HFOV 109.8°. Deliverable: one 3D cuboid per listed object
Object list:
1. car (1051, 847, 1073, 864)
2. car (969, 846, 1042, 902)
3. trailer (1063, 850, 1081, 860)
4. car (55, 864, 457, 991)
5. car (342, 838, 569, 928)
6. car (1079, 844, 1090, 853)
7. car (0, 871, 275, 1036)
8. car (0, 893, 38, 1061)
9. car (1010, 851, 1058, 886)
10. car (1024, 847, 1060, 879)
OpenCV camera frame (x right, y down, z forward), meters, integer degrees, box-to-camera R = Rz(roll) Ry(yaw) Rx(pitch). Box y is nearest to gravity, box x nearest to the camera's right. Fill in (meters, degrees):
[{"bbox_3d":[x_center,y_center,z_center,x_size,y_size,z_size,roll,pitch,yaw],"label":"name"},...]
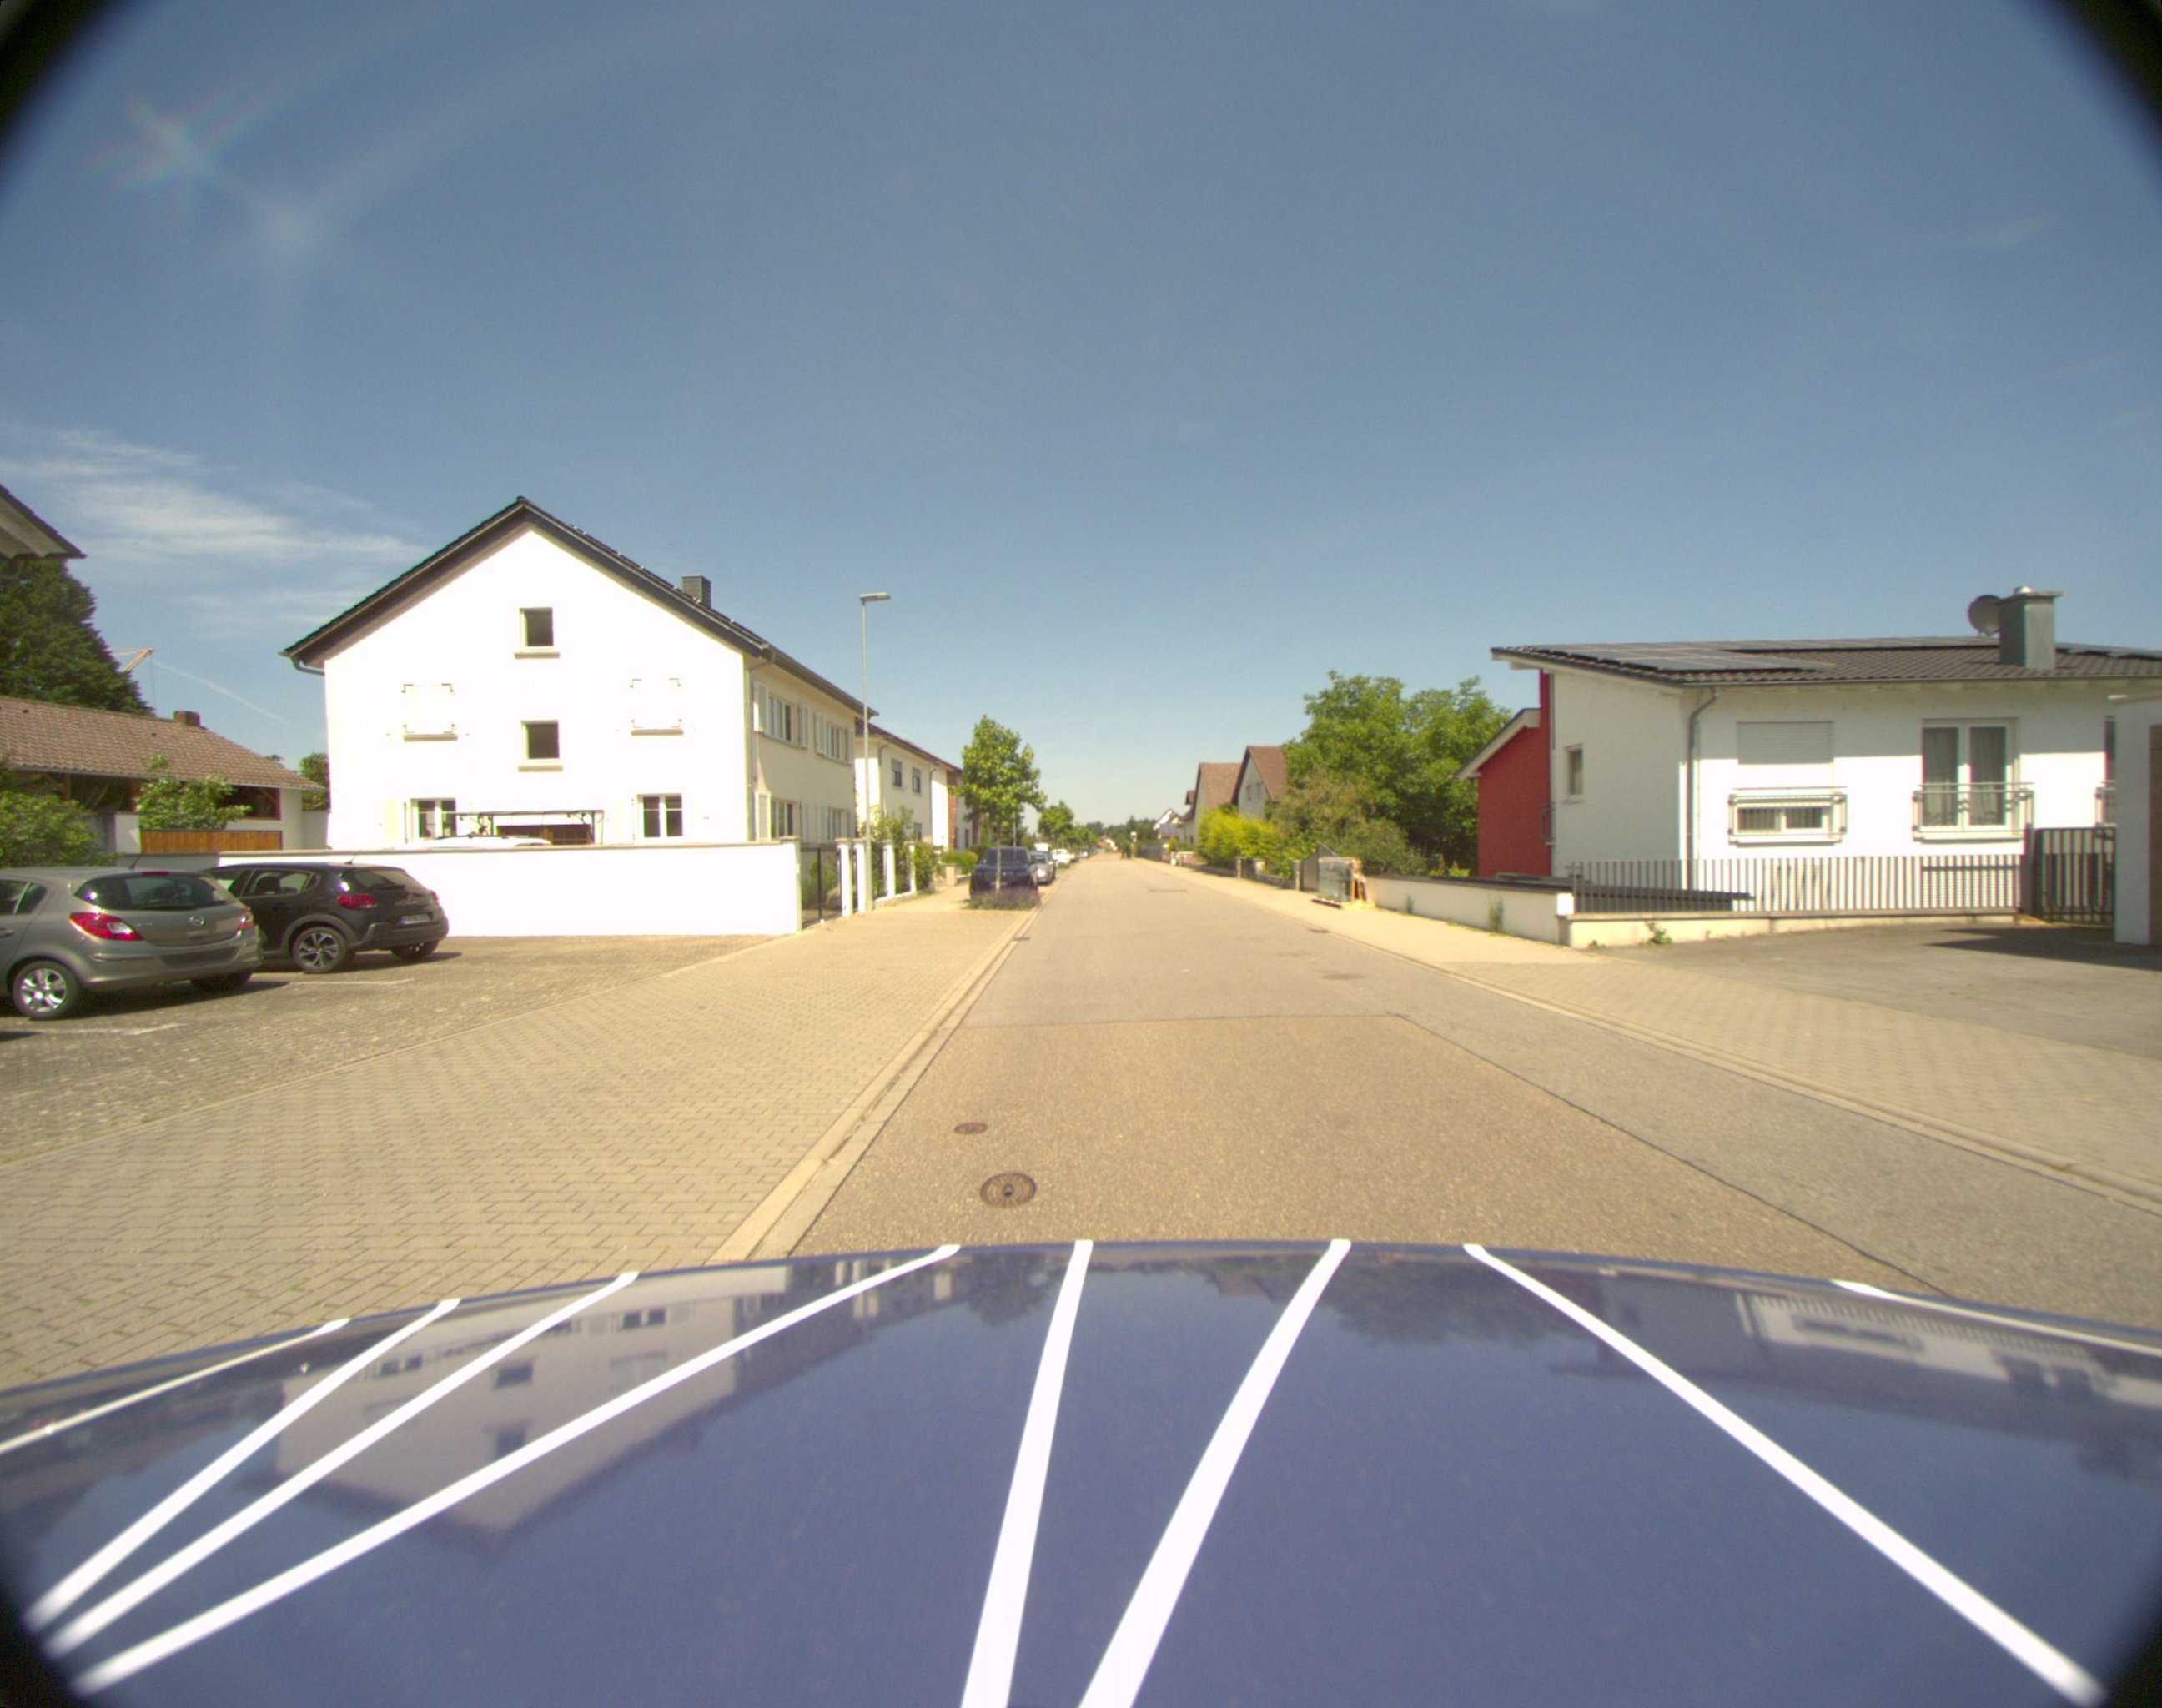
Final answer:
[{"bbox_3d":[-1.650,0.105,67.205,1.819,1.412,3.867,-1,1,0],"label":"car"},{"bbox_3d":[-2.380,0.585,24.999,1.819,1.646,4.564,-1,0,1],"label":"car"},{"bbox_3d":[-1.001,0.087,82.119,1.792,1.052,2.898,-1,1,2],"label":"trailer"},{"bbox_3d":[-11.161,0.941,10.529,3.510,1.488,1.663,-1,1,-5],"label":"car"},{"bbox_3d":[-13.478,0.593,16.531,3.395,1.802,1.771,-1,1,-1],"label":"car"},{"bbox_3d":[0.670,-1.027,136.153,1.597,1.630,3.803,-1,1,5],"label":"car"},{"bbox_3d":[-11.089,0.973,7.913,3.454,1.486,1.664,-1,1,-3],"label":"car"},{"bbox_3d":[-10.960,1.062,5.512,4.213,1.366,1.664,-1,1,-3],"label":"car"},{"bbox_3d":[-2.038,0.623,34.177,1.819,1.412,4.092,-1,1,1],"label":"car"},{"bbox_3d":[-1.991,0.415,39.814,1.746,1.524,4.447,-1,1,-2],"label":"car"}]
